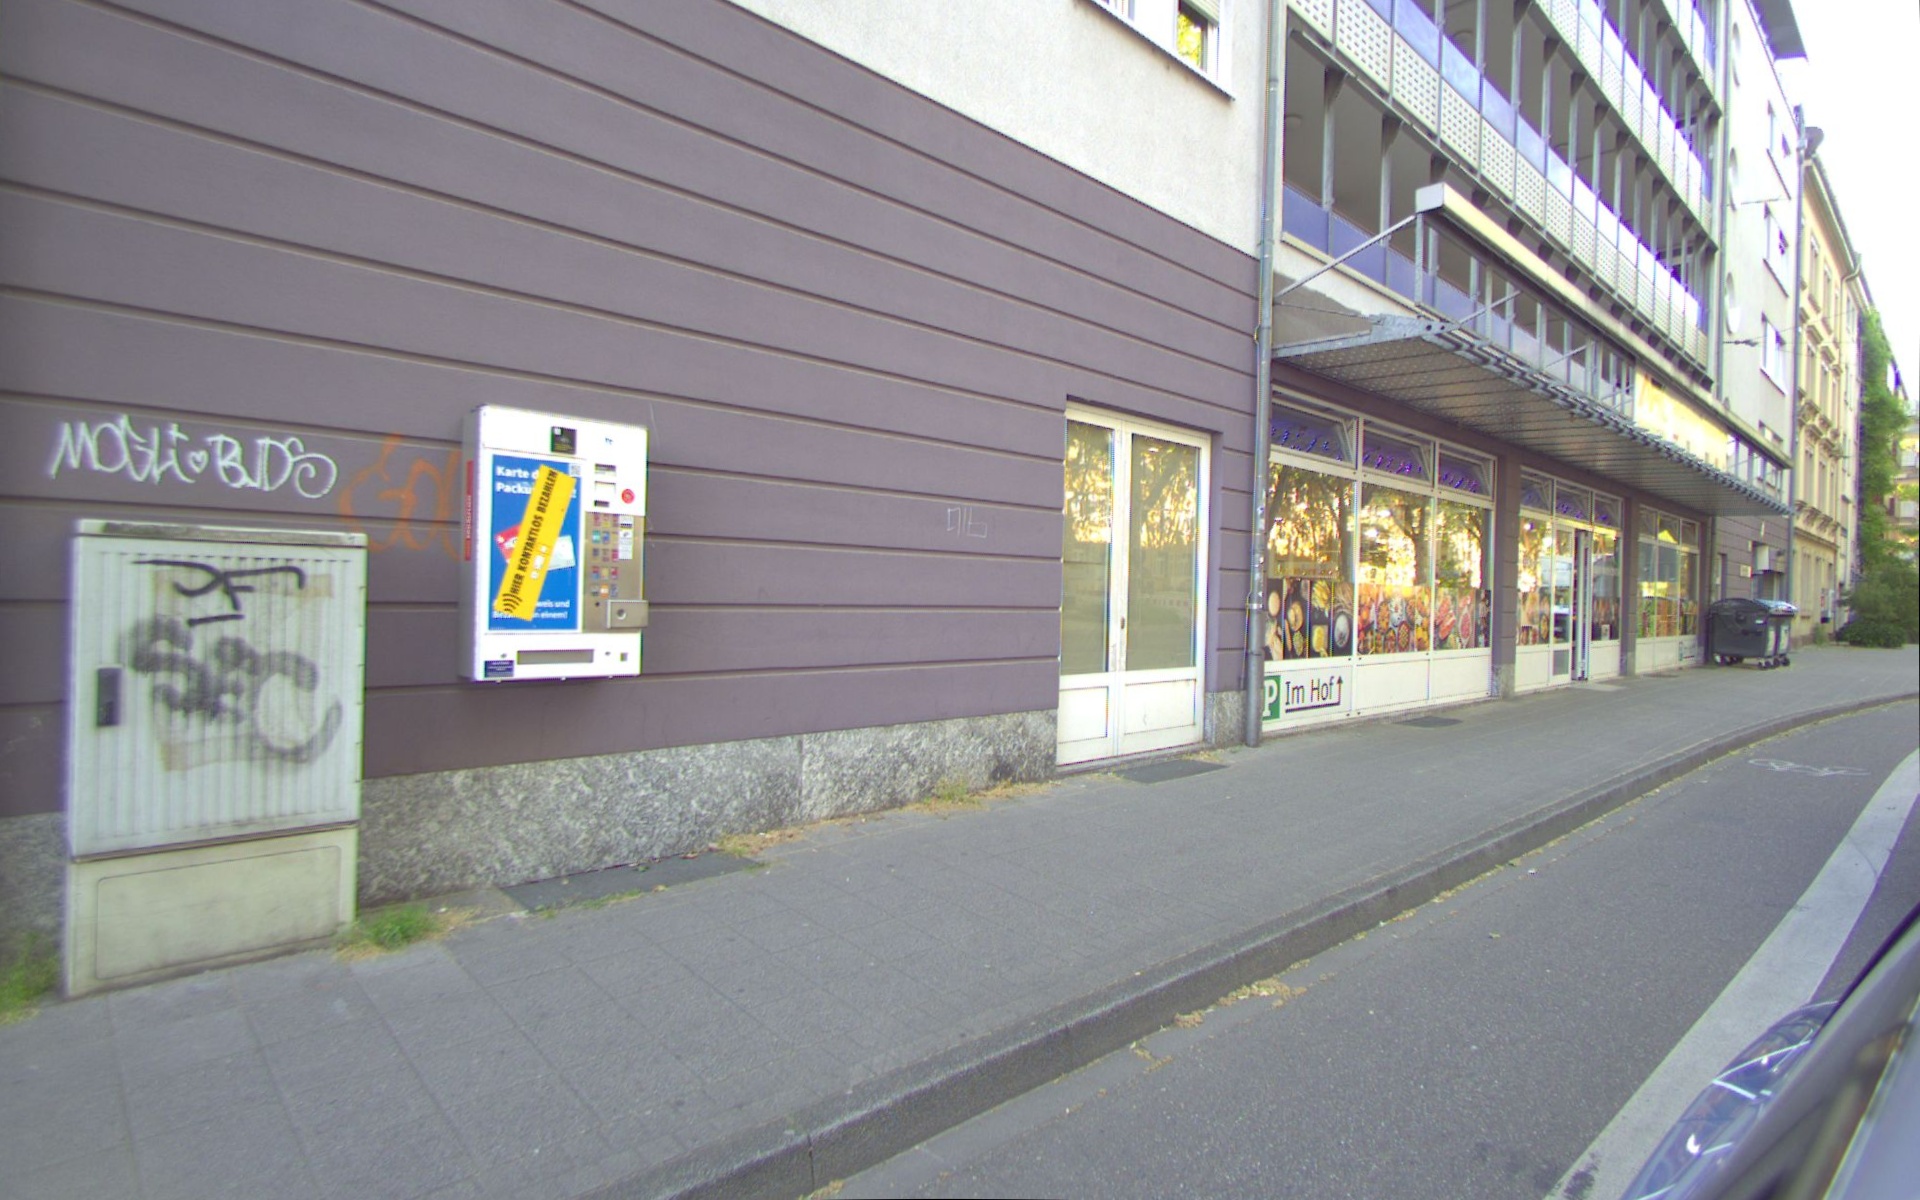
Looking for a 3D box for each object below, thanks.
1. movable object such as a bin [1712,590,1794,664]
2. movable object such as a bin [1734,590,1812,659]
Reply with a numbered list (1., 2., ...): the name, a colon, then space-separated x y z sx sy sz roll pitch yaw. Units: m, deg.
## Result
1. movable object such as a bin: 16.300 0.537 20.809 0.923 1.444 1.158 1 1 -40
2. movable object such as a bin: 17.787 0.515 22.152 0.923 1.444 1.158 1 1 -40
